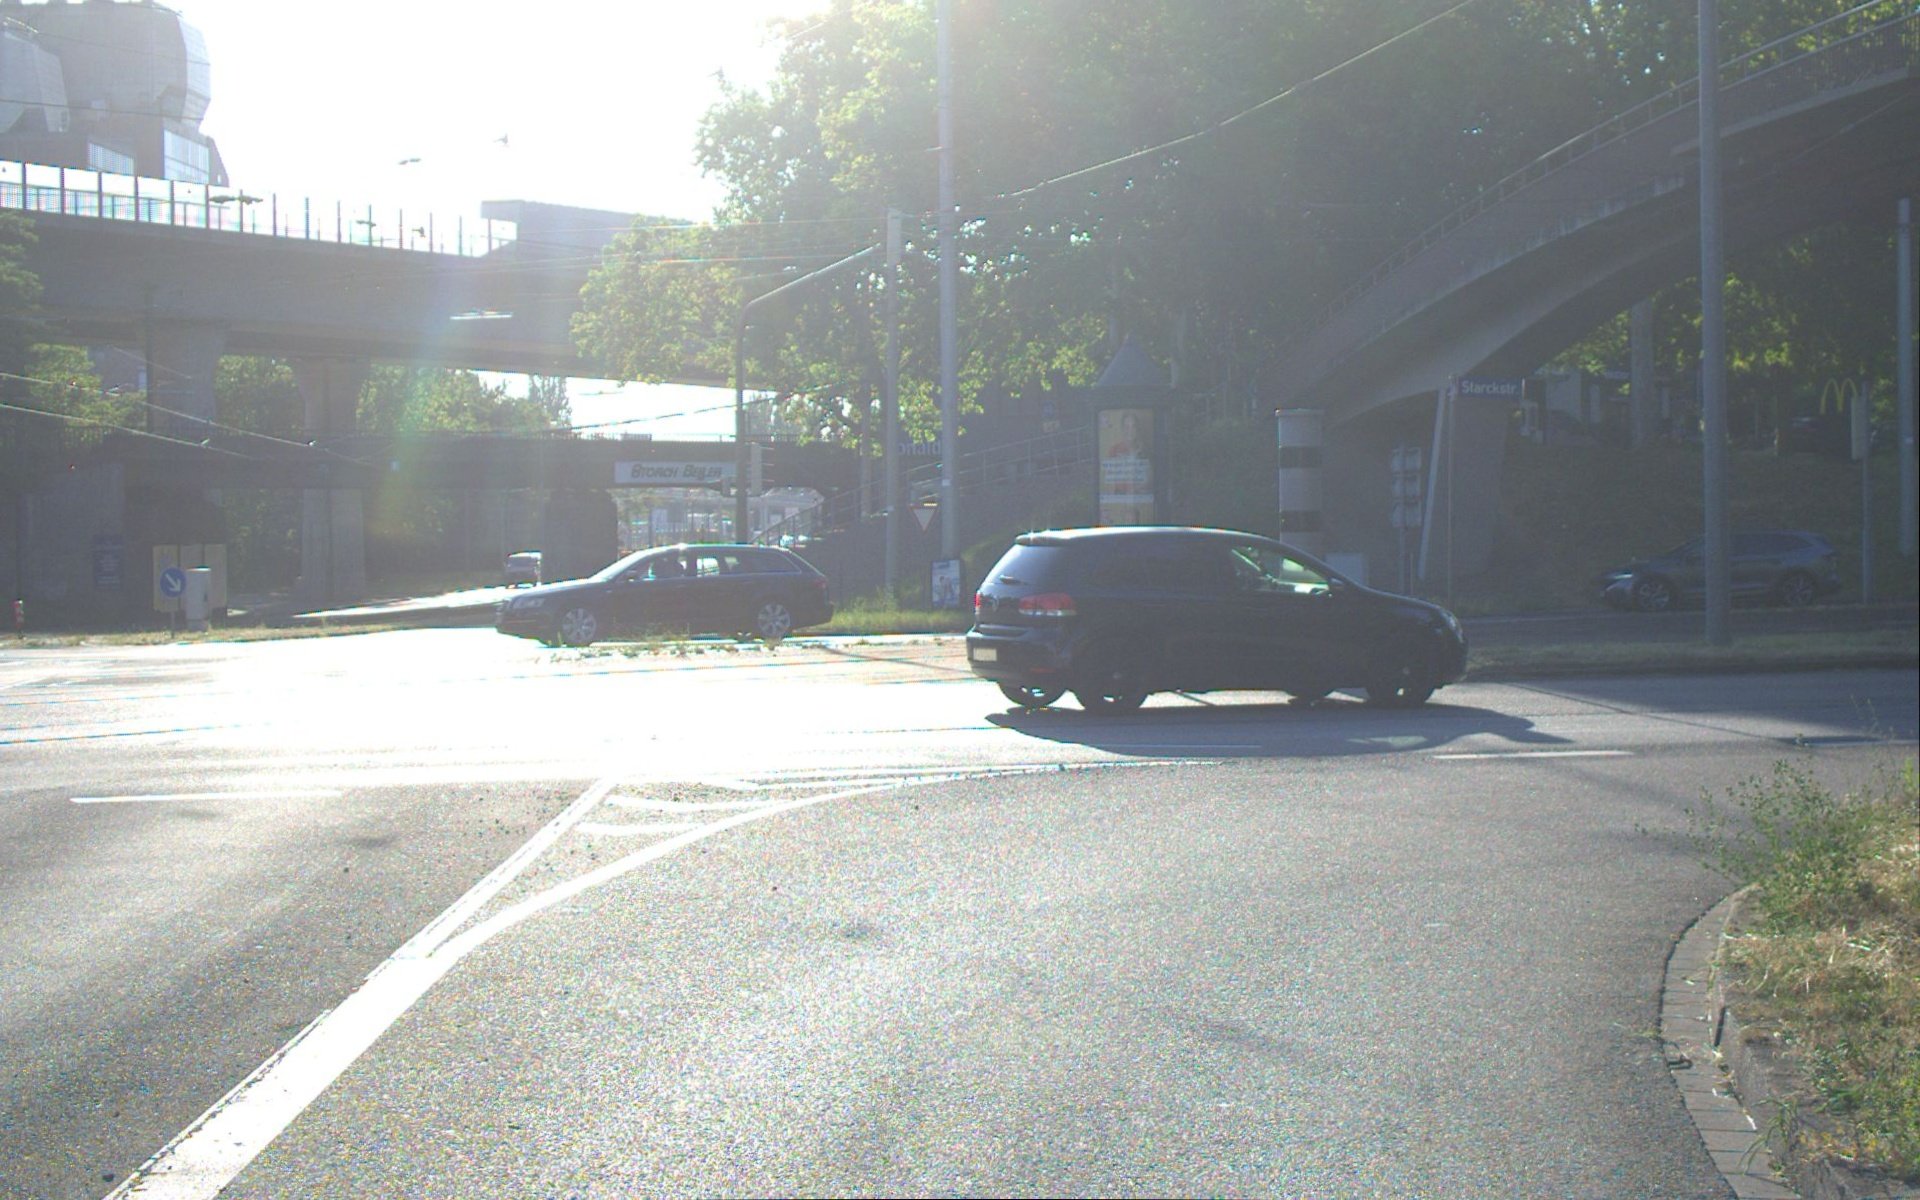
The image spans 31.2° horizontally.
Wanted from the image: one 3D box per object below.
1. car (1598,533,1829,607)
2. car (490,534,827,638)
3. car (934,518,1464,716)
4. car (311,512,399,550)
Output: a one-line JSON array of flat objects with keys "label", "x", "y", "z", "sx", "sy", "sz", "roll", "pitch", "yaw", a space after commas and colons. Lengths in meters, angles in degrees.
[{"label": "car", "x": 14.692, "y": -0.590, "z": 67.160, "sx": 4.138, "sy": 1.417, "sz": 1.697, "roll": 0, "pitch": 1, "yaw": 1}, {"label": "car", "x": -4.371, "y": -0.220, "z": 49.700, "sx": 4.518, "sy": 1.449, "sz": 2.001, "roll": 0, "pitch": 1, "yaw": -18}, {"label": "car", "x": 1.927, "y": 0.109, "z": 27.817, "sx": 3.903, "sy": 1.512, "sz": 1.735, "roll": 0, "pitch": 1, "yaw": -22}, {"label": "car", "x": -29.025, "y": -3.307, "z": 164.958, "sx": 1.997, "sy": 1.765, "sz": 3.993, "roll": 1, "pitch": 1, "yaw": 32}]
